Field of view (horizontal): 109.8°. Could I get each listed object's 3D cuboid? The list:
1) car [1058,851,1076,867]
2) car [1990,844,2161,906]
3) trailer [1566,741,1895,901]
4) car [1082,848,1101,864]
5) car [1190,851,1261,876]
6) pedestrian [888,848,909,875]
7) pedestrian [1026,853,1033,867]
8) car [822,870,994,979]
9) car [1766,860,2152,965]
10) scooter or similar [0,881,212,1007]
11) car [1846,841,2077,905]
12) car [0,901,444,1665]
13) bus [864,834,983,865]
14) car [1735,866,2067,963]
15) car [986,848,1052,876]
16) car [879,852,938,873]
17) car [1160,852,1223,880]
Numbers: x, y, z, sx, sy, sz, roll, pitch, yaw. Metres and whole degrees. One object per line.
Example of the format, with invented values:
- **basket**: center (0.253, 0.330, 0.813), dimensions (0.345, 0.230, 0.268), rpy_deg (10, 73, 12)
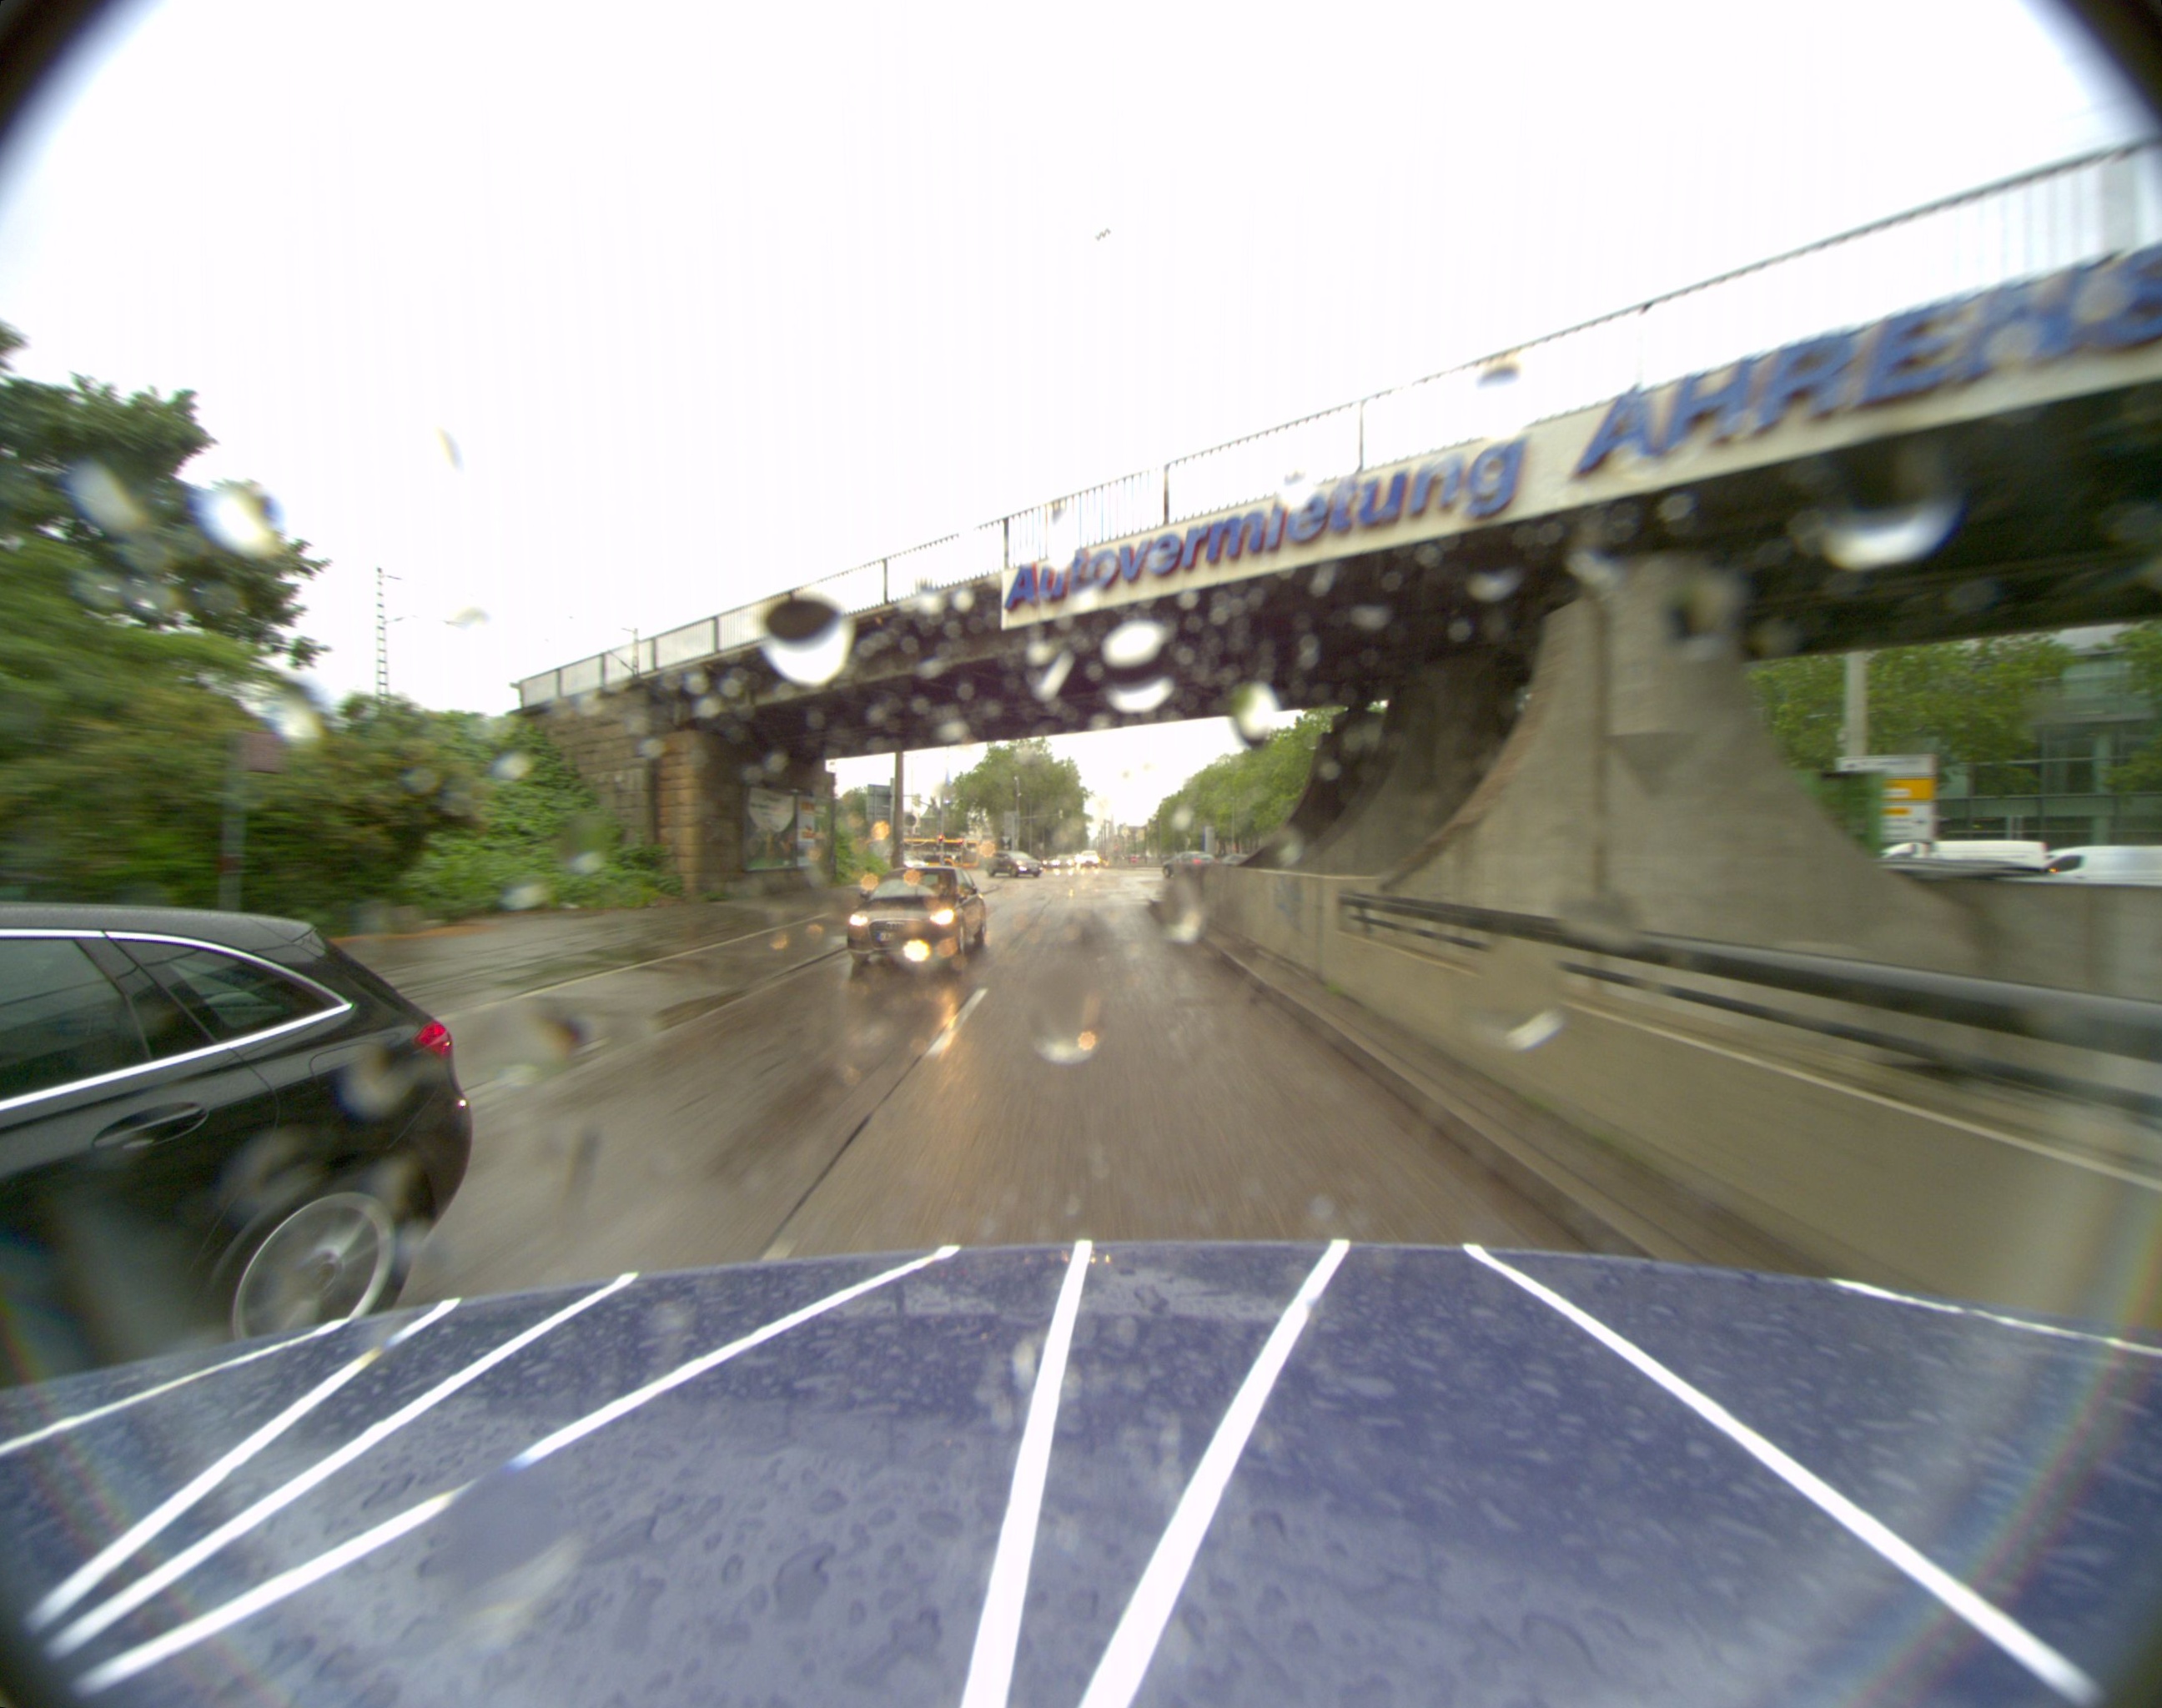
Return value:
- **car**: center (-1.594, 0.547, 85.501), dimensions (1.932, 1.641, 4.341), rpy_deg (0, 1, -1)
- **car**: center (41.748, 0.818, 31.249), dimensions (5.246, 2.419, 1.974), rpy_deg (1, 1, 37)
- **trailer**: center (18.905, -0.820, 23.203), dimensions (2.687, 3.963, 8.519), rpy_deg (0, 0, 0)
- **car**: center (1.171, 0.220, 87.247), dimensions (2.076, 1.838, 4.745), rpy_deg (0, 1, 0)
- **car**: center (9.170, 0.576, 48.734), dimensions (1.749, 1.477, 4.672), rpy_deg (0, 1, -32)
- **pedestrian**: center (-11.681, 0.469, 48.664), dimensions (0.817, 1.709, 1.007), rpy_deg (1, 1, 28)
- **pedestrian**: center (-5.829, 0.687, 85.460), dimensions (0.644, 1.641, 0.627), rpy_deg (0, 0, 9)
- **car**: center (-2.653, 1.038, 12.567), dimensions (1.840, 1.390, 3.753), rpy_deg (-1, 1, 2)
- **car**: center (15.935, 0.951, 14.297), dimensions (1.984, 1.565, 4.550), rpy_deg (1, 1, 0)
- **scooter or similar**: center (-10.889, 0.922, 8.360), dimensions (0.771, 1.172, 1.550), rpy_deg (3, 1, 18)
- **car**: center (36.263, 0.687, 31.617), dimensions (5.943, 2.419, 1.974), rpy_deg (1, 1, 37)
- **car**: center (-3.212, 0.942, 0.639), dimensions (1.875, 1.515, 4.087), rpy_deg (1, 0, 1)
- **bus**: center (-16.988, -0.424, 81.985), dimensions (12.300, 3.249, 3.269), rpy_deg (0, 1, -18)
- **car**: center (12.546, 0.845, 11.978), dimensions (1.511, 1.194, 3.442), rpy_deg (1, 1, 0)
- **car**: center (-4.036, 0.475, 49.025), dimensions (4.049, 1.647, 2.033), rpy_deg (1, 1, 43)
- **car**: center (-12.139, 0.569, 53.508), dimensions (3.988, 1.341, 1.902), rpy_deg (2, 1, 37)
- **car**: center (6.381, 0.662, 44.242), dimensions (1.662, 1.537, 3.991), rpy_deg (0, 1, -26)
